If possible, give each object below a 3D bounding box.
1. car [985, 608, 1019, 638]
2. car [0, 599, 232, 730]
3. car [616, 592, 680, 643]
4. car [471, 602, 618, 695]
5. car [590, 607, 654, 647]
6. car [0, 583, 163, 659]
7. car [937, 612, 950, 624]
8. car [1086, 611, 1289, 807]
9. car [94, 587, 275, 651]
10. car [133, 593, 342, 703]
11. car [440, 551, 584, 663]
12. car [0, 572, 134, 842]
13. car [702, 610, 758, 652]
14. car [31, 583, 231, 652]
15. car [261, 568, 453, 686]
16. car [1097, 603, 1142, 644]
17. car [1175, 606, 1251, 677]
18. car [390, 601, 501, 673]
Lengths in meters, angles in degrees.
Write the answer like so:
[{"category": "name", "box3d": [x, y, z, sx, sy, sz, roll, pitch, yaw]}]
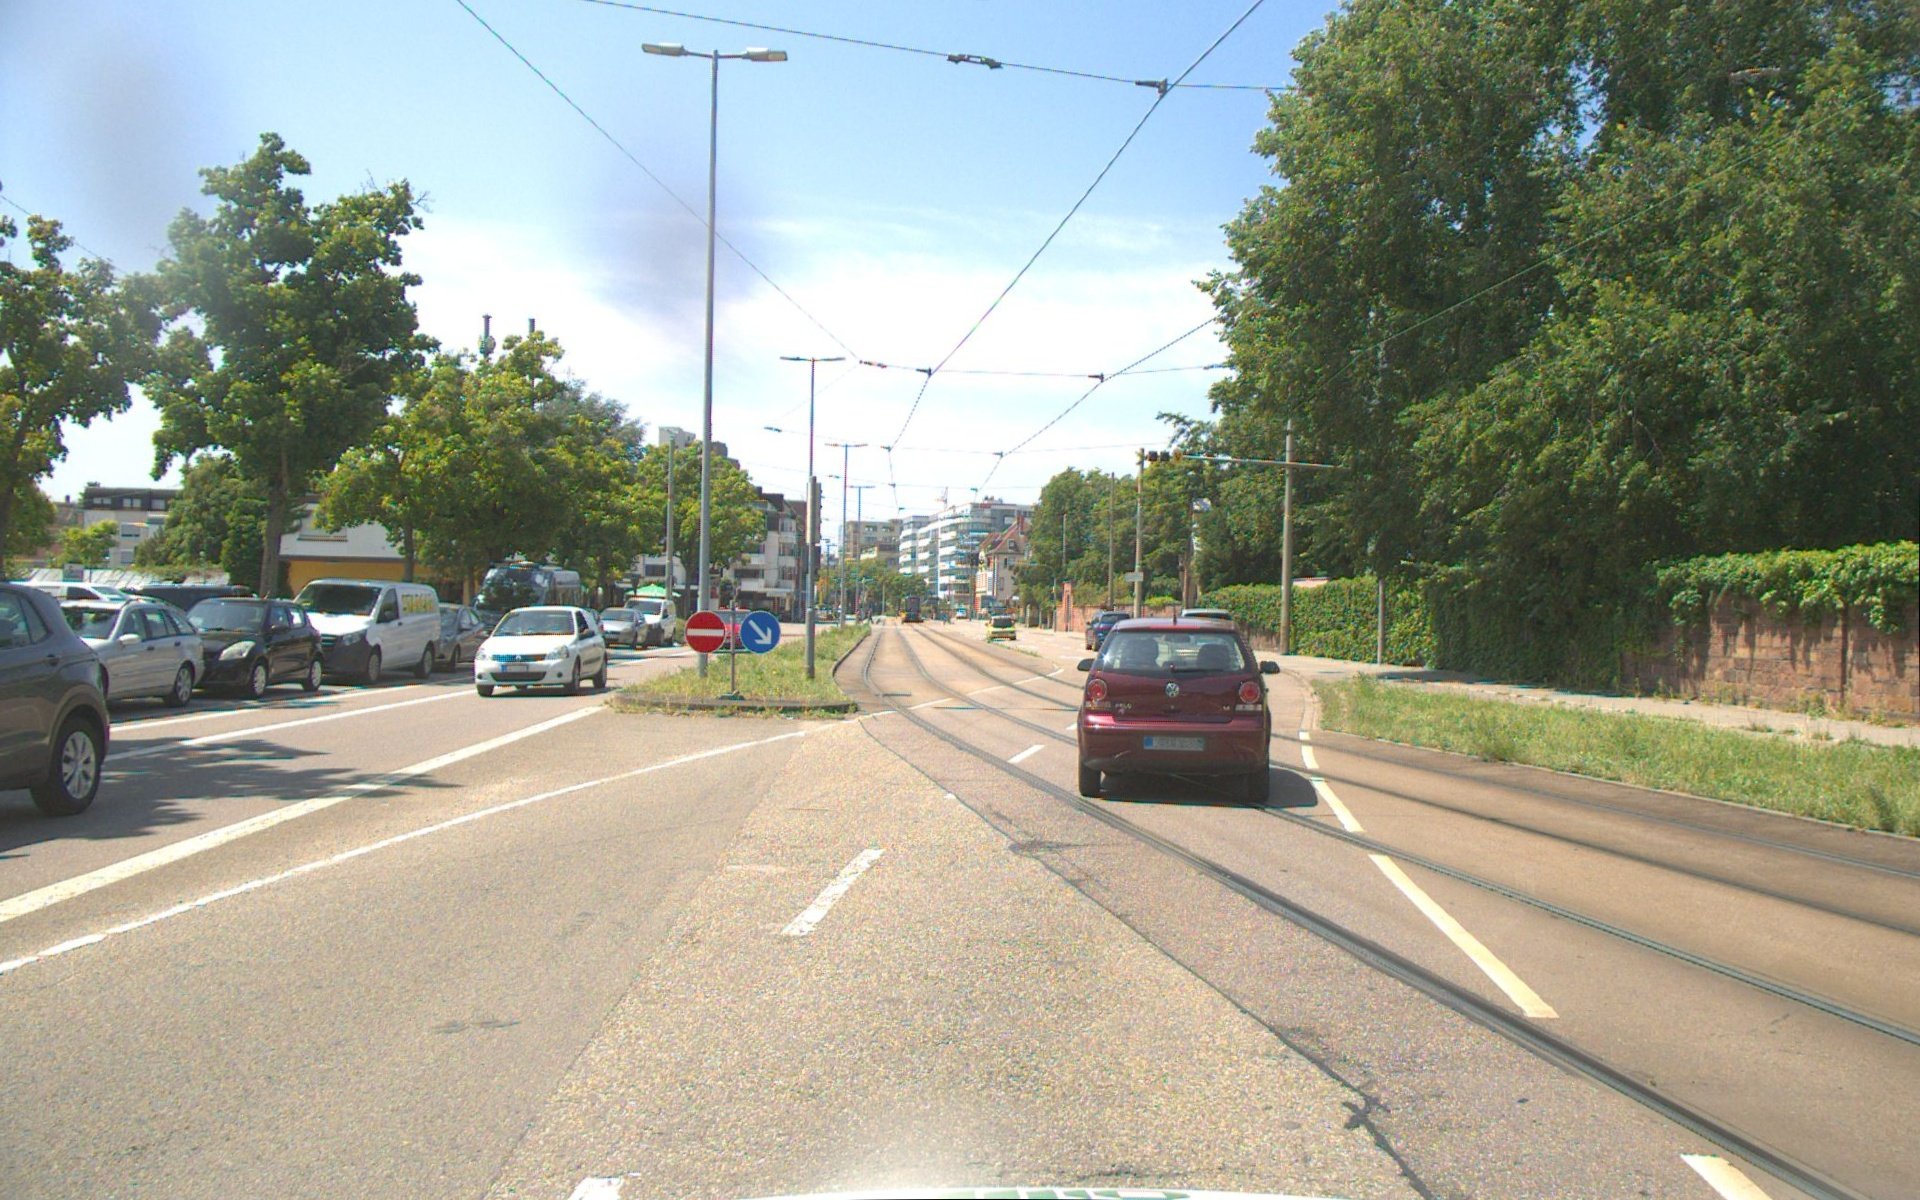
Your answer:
[{"category": "car", "box3d": [2.501, 1.370, 99.377, 1.759, 1.712, 3.998, 2, 0, -2]}, {"category": "car", "box3d": [-11.347, 0.756, 21.613, 1.684, 1.452, 4.768, 3, 0, -3]}, {"category": "car", "box3d": [-12.919, 0.703, 68.740, 1.838, 2.000, 5.162, 1, 0, -2]}, {"category": "car", "box3d": [-6.856, 0.774, 27.611, 1.615, 1.400, 3.809, -1, -1, -2]}, {"category": "car", "box3d": [-12.605, 0.994, 61.935, 1.598, 1.445, 3.866, 1, 0, 0]}, {"category": "car", "box3d": [-22.913, 0.524, 41.782, 4.625, 1.845, 1.795, 1, 0, -4]}, {"category": "car", "box3d": [-1.879, 2.098, 190.130, 1.326, 1.274, 2.971, 2, 0, -2]}, {"category": "car", "box3d": [2.049, 0.865, 14.942, 1.575, 1.524, 4.003, 0, -1, 8]}, {"category": "car", "box3d": [-23.668, 0.576, 50.595, 4.624, 1.845, 1.796, 1, 0, -3]}, {"category": "car", "box3d": [-11.380, 0.727, 26.336, 1.581, 1.510, 3.784, 4, -1, 0]}, {"category": "car", "box3d": [-12.242, 0.206, 45.687, 2.351, 2.702, 6.169, 4, -1, -3]}, {"category": "car", "box3d": [-6.556, 0.637, 9.683, 1.702, 1.603, 3.711, 0, 0, -3]}, {"category": "car", "box3d": [-8.020, 1.063, 57.816, 1.624, 1.434, 3.604, 0, 0, -3]}, {"category": "car", "box3d": [-23.148, 0.477, 46.300, 4.625, 1.845, 1.795, 1, 0, -4]}, {"category": "car", "box3d": [-11.494, 0.495, 31.933, 1.825, 1.971, 4.805, 4, -1, 0]}, {"category": "car", "box3d": [6.785, 0.989, 70.593, 1.737, 1.659, 4.002, 2, 0, 4]}, {"category": "car", "box3d": [6.705, 1.067, 43.515, 1.757, 1.712, 4.003, 2, 0, 11]}, {"category": "car", "box3d": [-11.737, 0.809, 37.962, 1.377, 1.465, 3.837, 4, -1, -2]}]
